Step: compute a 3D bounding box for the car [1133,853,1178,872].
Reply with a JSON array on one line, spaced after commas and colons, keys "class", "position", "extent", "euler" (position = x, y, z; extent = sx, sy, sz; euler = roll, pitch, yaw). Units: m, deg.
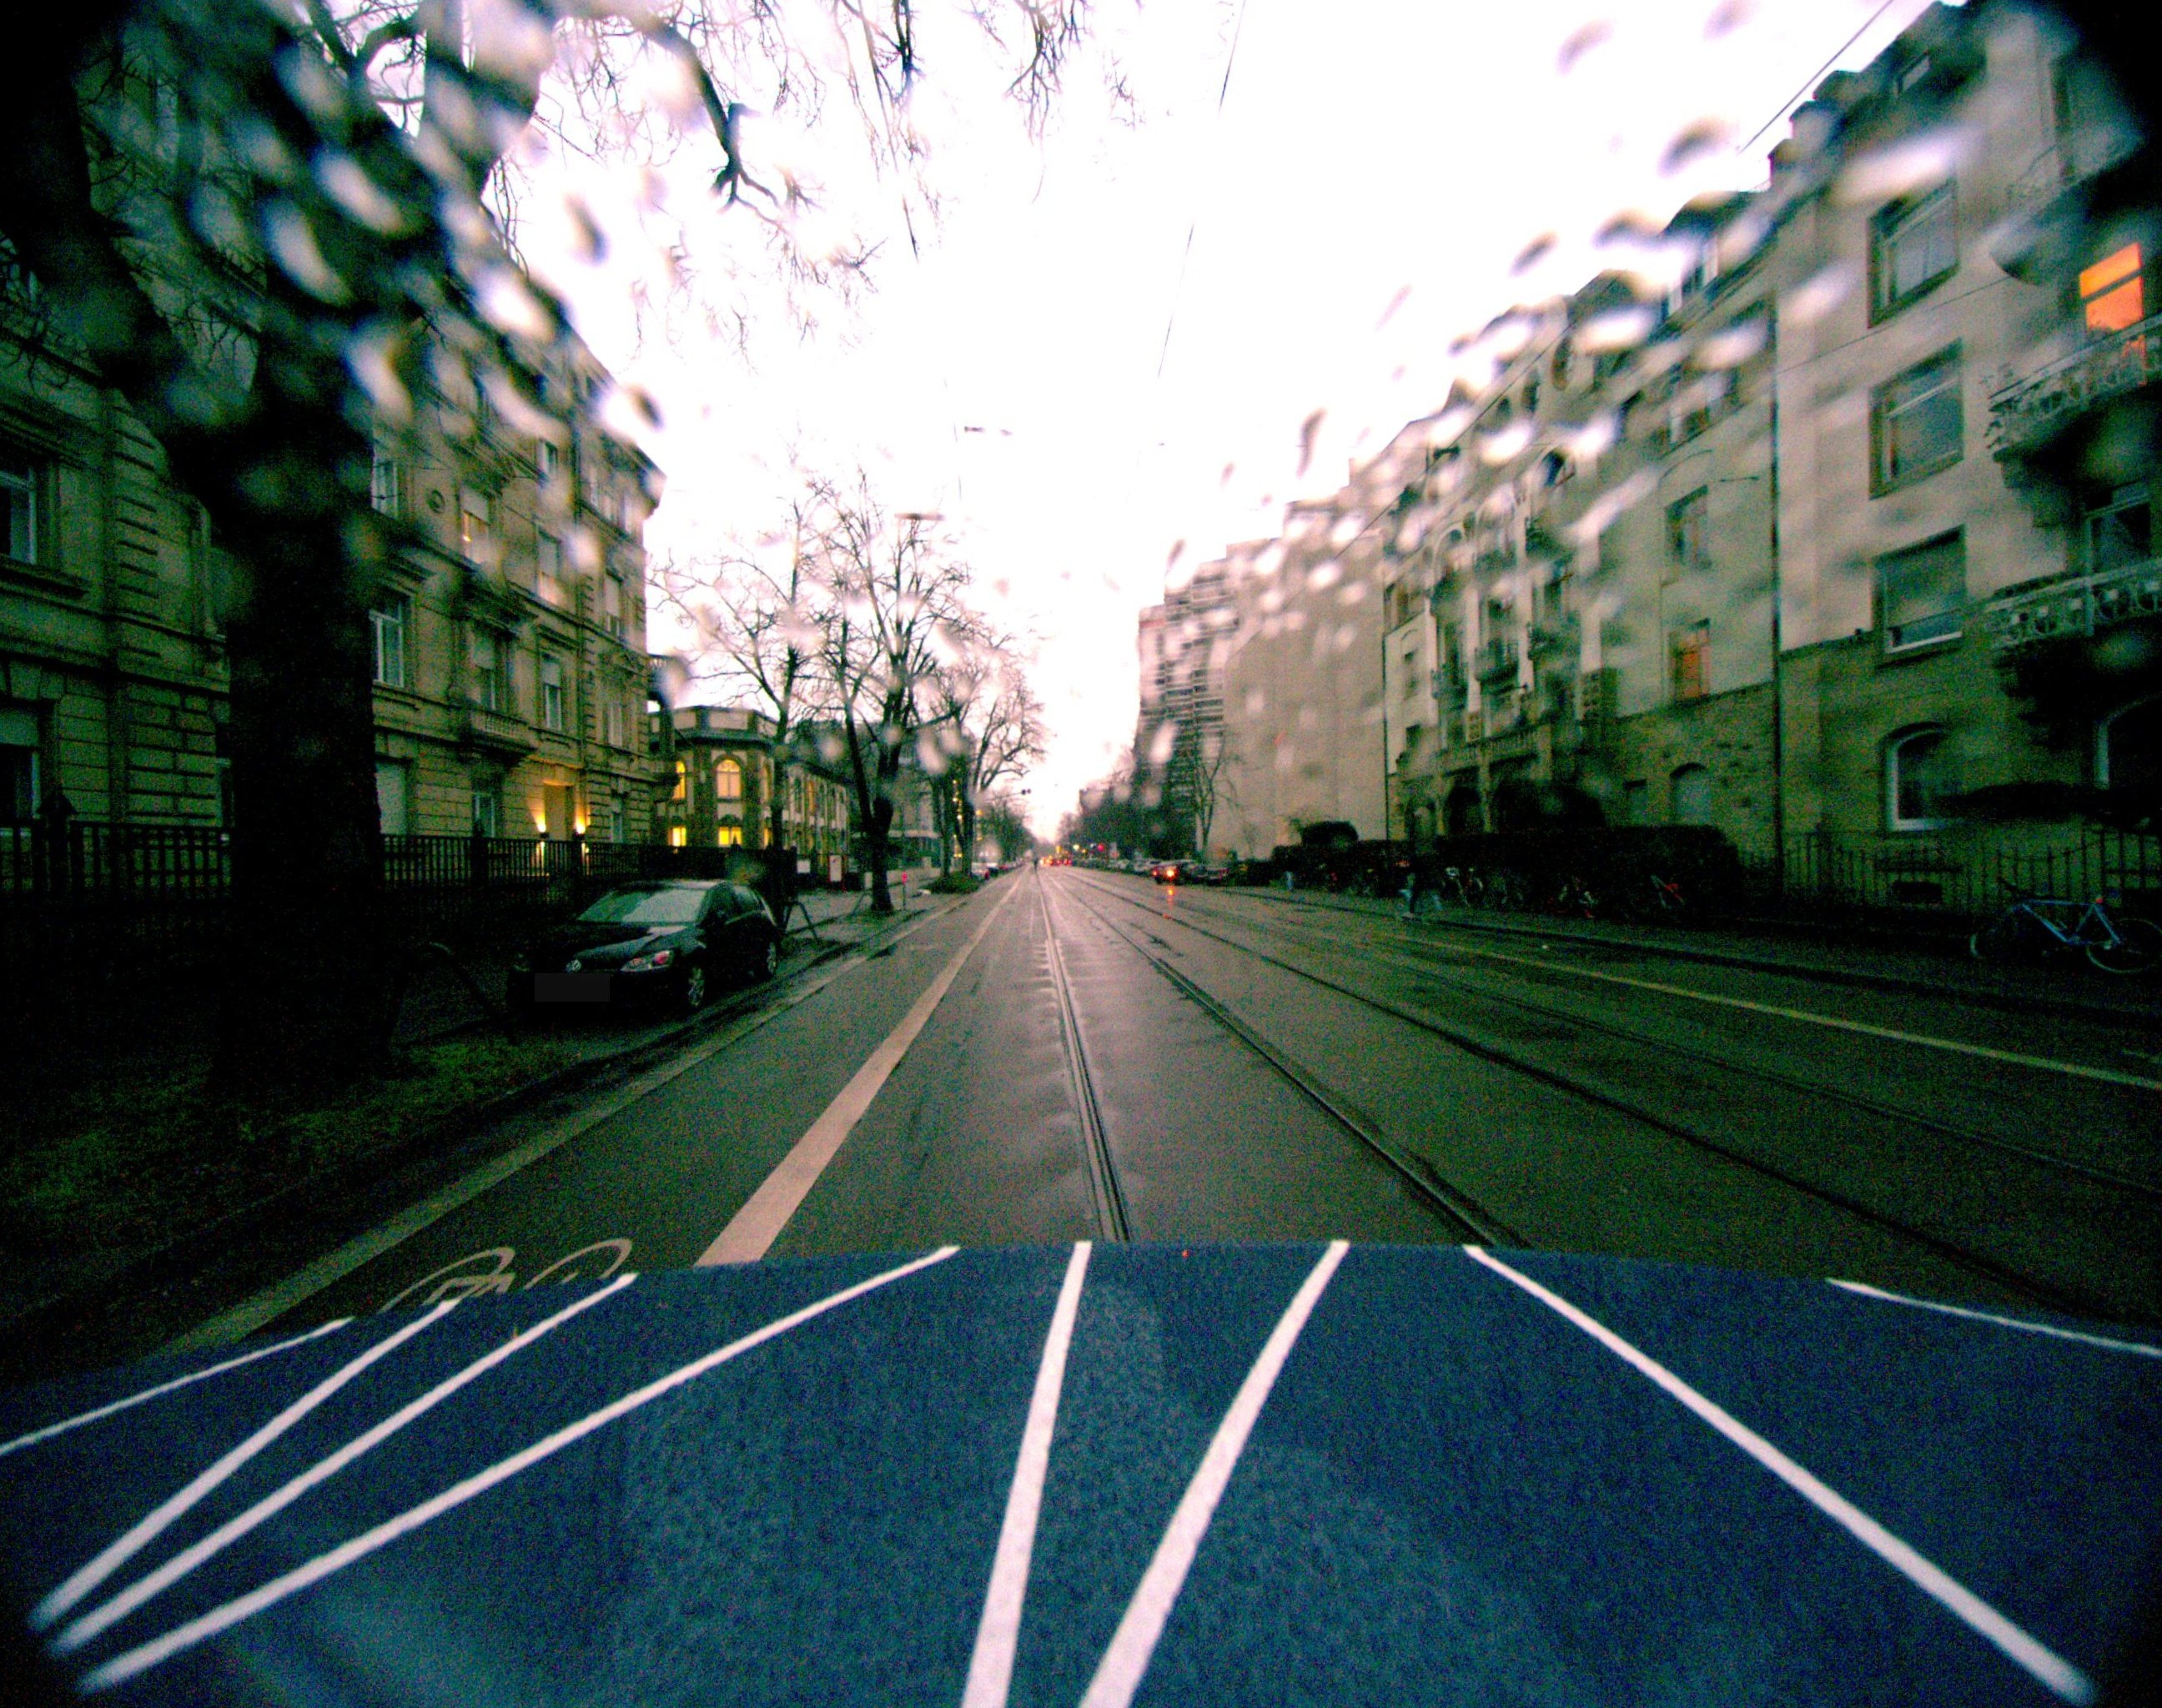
[{"class": "car", "position": [6.844, 0.798, 69.551], "extent": [4.008, 1.586, 1.864], "euler": [-2, 0, -40]}]

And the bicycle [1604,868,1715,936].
[{"class": "bicycle", "position": [10.451, 0.834, 13.806], "extent": [0.625, 1.119, 1.783], "euler": [-1, 0, -1]}]

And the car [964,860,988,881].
[{"class": "car", "position": [-7.887, 1.211, 57.102], "extent": [1.628, 1.399, 3.997], "euler": [-2, 1, -6]}]

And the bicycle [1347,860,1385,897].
[{"class": "bicycle", "position": [9.802, 0.830, 26.175], "extent": [0.625, 1.205, 1.662], "euler": [-1, 0, -1]}]

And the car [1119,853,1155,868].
[{"class": "car", "position": [6.596, 0.734, 89.212], "extent": [4.008, 1.586, 1.864], "euler": [-2, 0, -40]}]

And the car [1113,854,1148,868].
[{"class": "car", "position": [5.965, 0.802, 91.531], "extent": [4.008, 1.586, 1.864], "euler": [-2, 0, -40]}]

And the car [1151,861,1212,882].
[{"class": "car", "position": [6.215, 1.056, 46.915], "extent": [3.673, 1.245, 1.707], "euler": [0, 0, -41]}]

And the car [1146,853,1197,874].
[{"class": "car", "position": [7.529, 0.770, 63.024], "extent": [4.008, 1.586, 1.864], "euler": [-2, 0, -40]}]

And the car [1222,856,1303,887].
[{"class": "car", "position": [9.672, 0.882, 40.454], "extent": [4.006, 1.485, 1.864], "euler": [-2, 0, -32]}]

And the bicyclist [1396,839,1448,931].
[{"class": "bicyclist", "position": [7.214, 0.635, 16.110], "extent": [0.625, 1.865, 0.991], "euler": [-1, 0, -1]}]

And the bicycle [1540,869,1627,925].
[{"class": "bicycle", "position": [10.343, 0.862, 15.722], "extent": [0.625, 1.059, 1.726], "euler": [-1, 0, -1]}]

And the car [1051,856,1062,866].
[{"class": "car", "position": [-5.670, 1.608, 178.010], "extent": [2.239, 2.002, 4.458], "euler": [-2, 1, -5]}]

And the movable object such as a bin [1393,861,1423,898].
[{"class": "movable object such as a bin", "position": [10.573, 0.820, 24.578], "extent": [0.659, 1.157, 0.674], "euler": [-1, 0, -1]}]

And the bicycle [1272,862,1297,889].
[{"class": "bicycle", "position": [9.074, 0.931, 33.971], "extent": [0.625, 1.157, 1.662], "euler": [-2, 0, -1]}]

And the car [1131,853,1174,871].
[{"class": "car", "position": [6.871, 0.777, 72.763], "extent": [4.008, 1.586, 1.864], "euler": [-2, 0, -40]}]

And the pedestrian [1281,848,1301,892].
[{"class": "pedestrian", "position": [8.490, 0.636, 30.700], "extent": [0.574, 1.715, 0.644], "euler": [-3, 2, 1]}]

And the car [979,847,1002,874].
[{"class": "car", "position": [-9.142, 0.613, 76.948], "extent": [2.094, 2.622, 5.446], "euler": [-2, 1, -6]}]

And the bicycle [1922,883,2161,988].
[{"class": "bicycle", "position": [10.743, 0.864, 8.582], "extent": [0.625, 0.997, 1.662], "euler": [-1, 0, -1]}]

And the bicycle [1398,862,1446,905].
[{"class": "bicycle", "position": [9.954, 0.846, 22.250], "extent": [0.625, 1.205, 1.662], "euler": [-1, 0, -1]}]

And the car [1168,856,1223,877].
[{"class": "car", "position": [8.599, 0.916, 57.011], "extent": [4.008, 1.440, 1.864], "euler": [-2, 0, -40]}]

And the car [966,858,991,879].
[{"class": "car", "position": [-9.009, 1.261, 67.027], "extent": [2.000, 1.672, 3.997], "euler": [-2, 1, -6]}]

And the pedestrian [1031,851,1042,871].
[{"class": "pedestrian", "position": [-5.123, 0.796, 87.538], "extent": [1.118, 2.246, 0.952], "euler": [-2, 1, -6]}]

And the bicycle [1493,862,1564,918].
[{"class": "bicycle", "position": [10.264, 0.801, 17.479], "extent": [0.625, 1.205, 1.662], "euler": [-1, 0, -1]}]

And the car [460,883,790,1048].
[{"class": "car", "position": [-5.098, 1.133, 9.274], "extent": [1.763, 1.437, 4.156], "euler": [1, -1, -4]}]

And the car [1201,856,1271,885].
[{"class": "car", "position": [8.822, 0.902, 43.081], "extent": [4.008, 1.477, 1.760], "euler": [-2, 0, -40]}]

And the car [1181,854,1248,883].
[{"class": "car", "position": [8.122, 0.850, 46.061], "extent": [4.008, 1.586, 1.864], "euler": [-2, 0, -40]}]

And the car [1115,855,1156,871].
[{"class": "car", "position": [5.600, 0.908, 77.809], "extent": [4.008, 1.586, 1.864], "euler": [-2, 0, -40]}]

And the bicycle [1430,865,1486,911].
[{"class": "bicycle", "position": [9.983, 0.875, 20.179], "extent": [0.625, 1.157, 1.662], "euler": [-1, 0, -1]}]

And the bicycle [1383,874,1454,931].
[{"class": "bicycle", "position": [7.222, 1.003, 16.349], "extent": [0.625, 1.086, 1.947], "euler": [-1, 0, -1]}]

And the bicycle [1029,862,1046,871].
[{"class": "bicycle", "position": [-5.037, 1.407, 87.604], "extent": [1.918, 0.986, 0.858], "euler": [-2, 1, -5]}]

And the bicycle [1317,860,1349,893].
[{"class": "bicycle", "position": [9.466, 0.823, 28.583], "extent": [0.625, 1.205, 1.662], "euler": [-1, 0, -1]}]

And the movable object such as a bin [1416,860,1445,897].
[{"class": "movable object such as a bin", "position": [11.304, 0.778, 24.573], "extent": [0.625, 1.157, 0.674], "euler": [-1, 0, -1]}]
